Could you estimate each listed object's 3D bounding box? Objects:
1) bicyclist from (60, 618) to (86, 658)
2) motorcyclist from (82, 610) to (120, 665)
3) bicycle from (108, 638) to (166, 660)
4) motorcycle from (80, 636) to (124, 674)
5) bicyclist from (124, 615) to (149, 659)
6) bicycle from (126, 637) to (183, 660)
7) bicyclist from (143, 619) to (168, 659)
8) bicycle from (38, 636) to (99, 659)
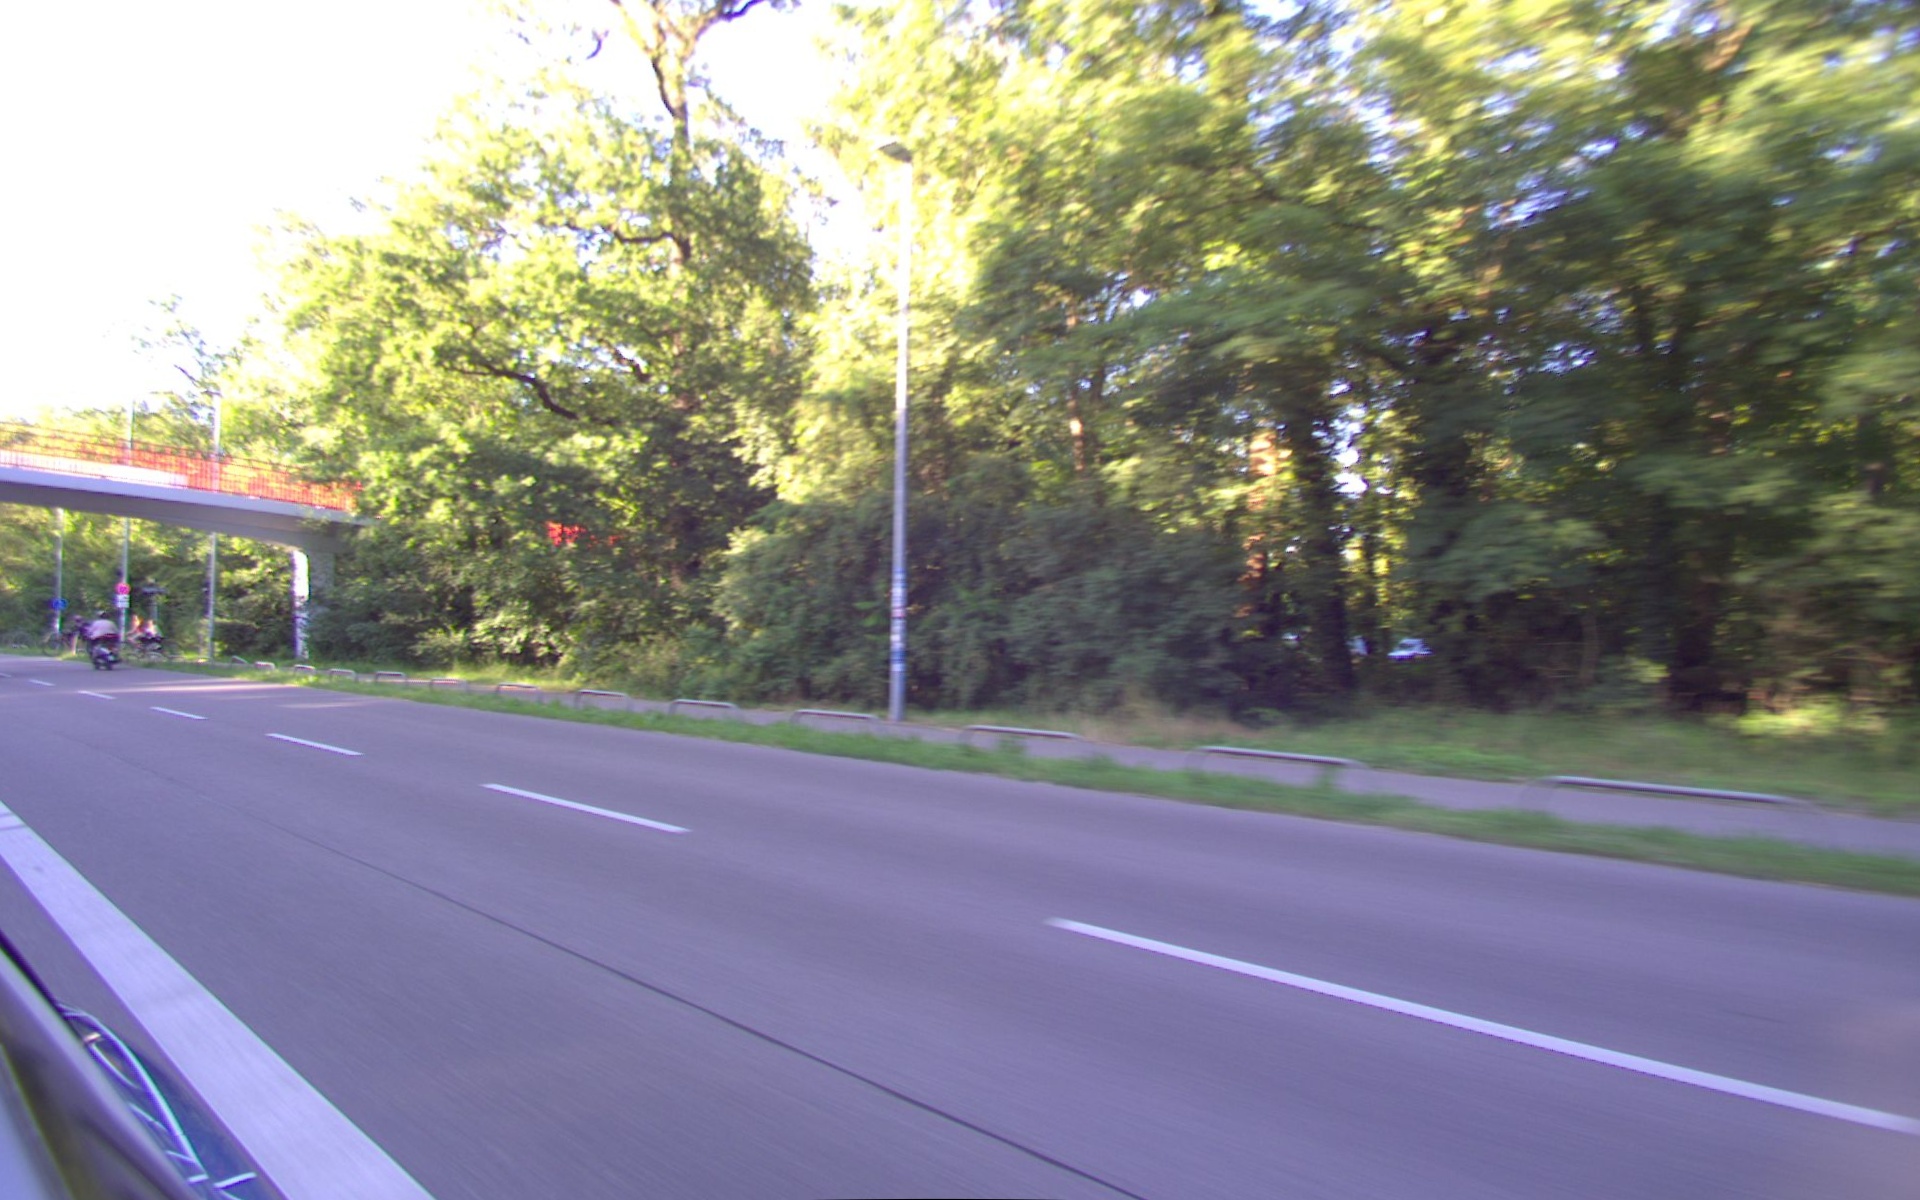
[{"bbox_3d":[-36.989,1.588,42.192,0.786,1.656,0.842,1,-2,-42],"label":"bicyclist"},{"bbox_3d":[-24.260,1.043,28.586,0.671,1.517,0.717,-1,-2,40],"label":"motorcyclist"},{"bbox_3d":[-36.121,2.132,44.433,1.903,0.941,0.825,2,-3,-42],"label":"bicycle"},{"bbox_3d":[-24.148,1.525,28.474,2.075,1.003,0.630,-1,-1,40],"label":"motorcycle"},{"bbox_3d":[-36.145,1.608,44.417,0.786,1.915,0.818,1,-2,-42],"label":"bicyclist"},{"bbox_3d":[-34.895,2.106,43.852,1.903,0.941,0.825,1,-2,-42],"label":"bicycle"},{"bbox_3d":[-34.868,1.681,43.850,0.786,1.710,0.946,1,-2,-42],"label":"bicyclist"},{"bbox_3d":[-37.076,1.963,42.109,1.903,0.941,0.825,1,-2,-42],"label":"bicycle"}]
